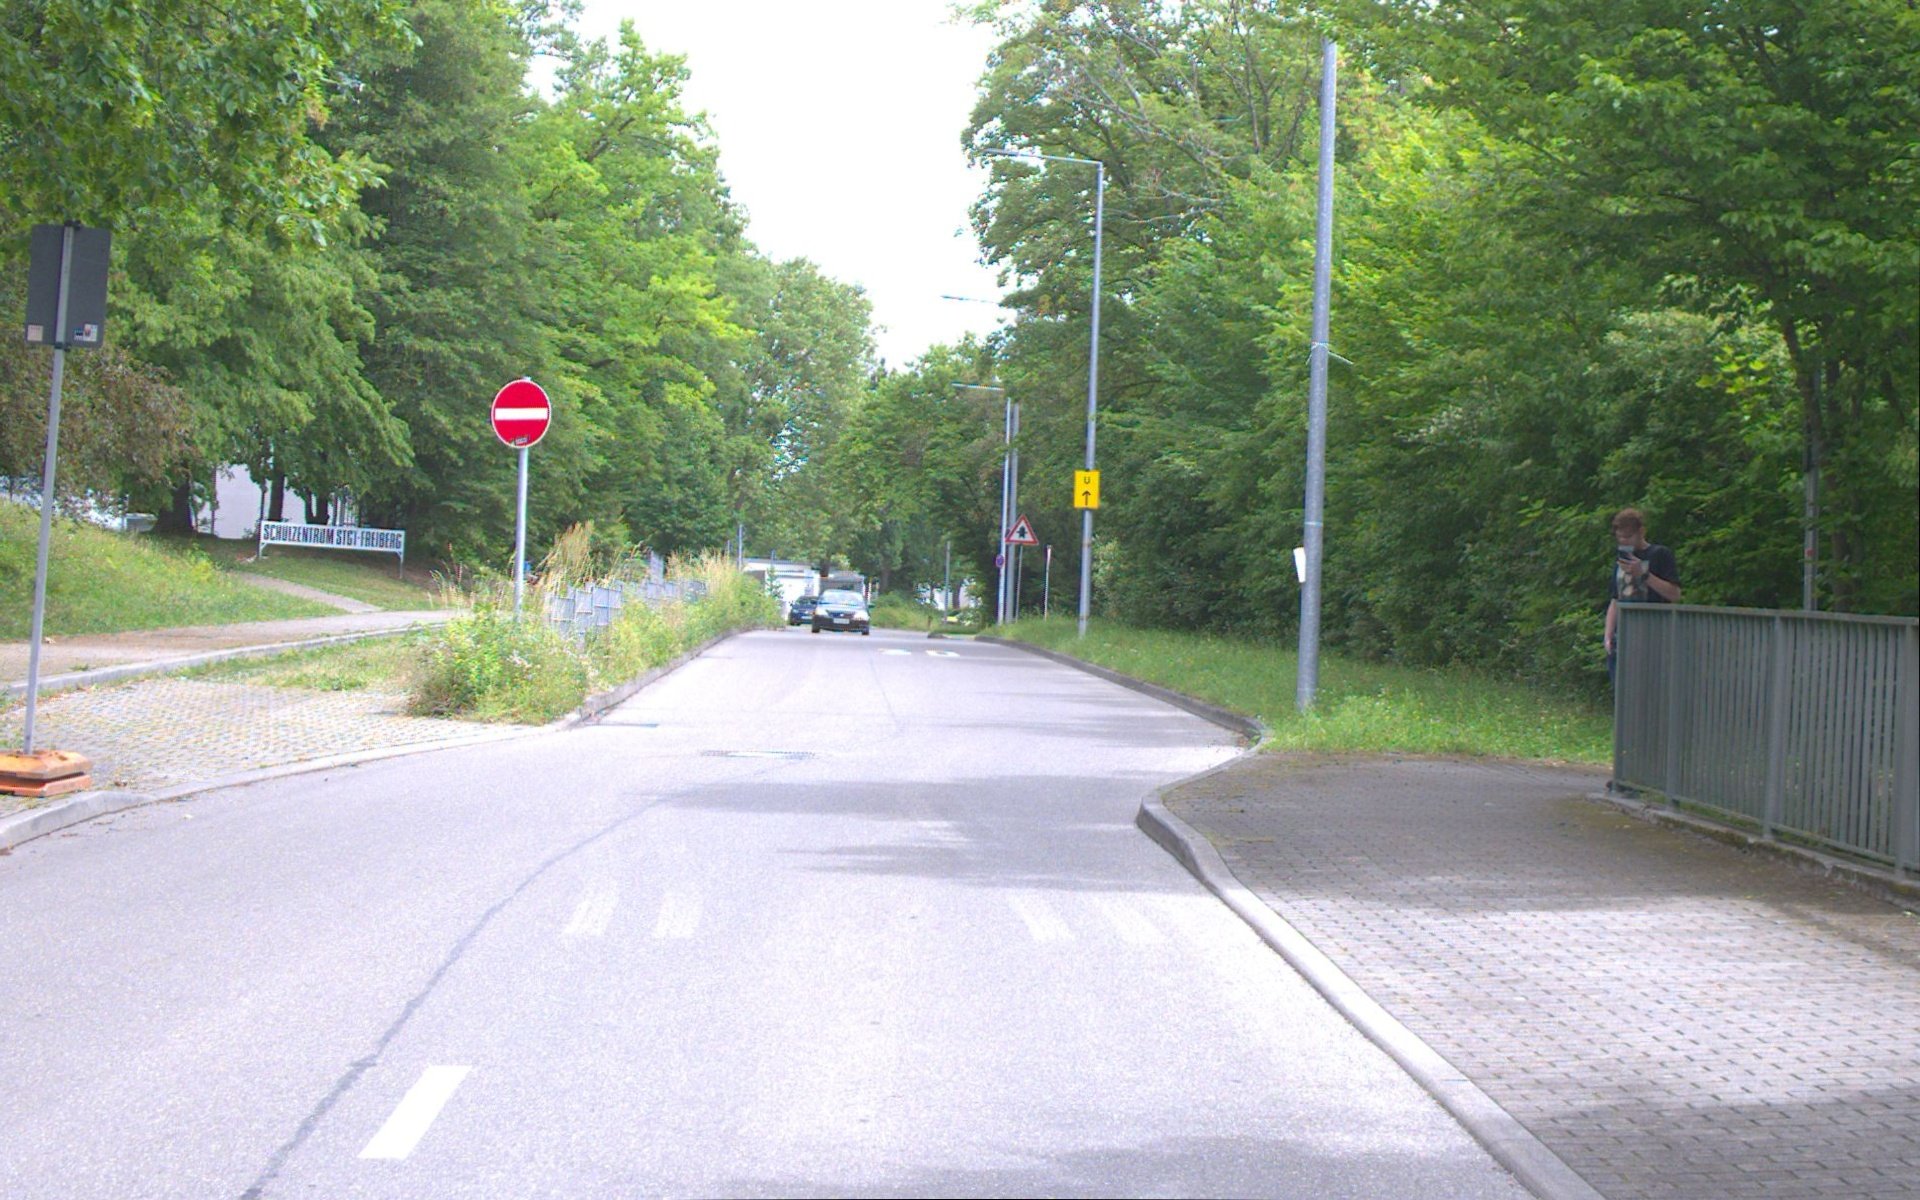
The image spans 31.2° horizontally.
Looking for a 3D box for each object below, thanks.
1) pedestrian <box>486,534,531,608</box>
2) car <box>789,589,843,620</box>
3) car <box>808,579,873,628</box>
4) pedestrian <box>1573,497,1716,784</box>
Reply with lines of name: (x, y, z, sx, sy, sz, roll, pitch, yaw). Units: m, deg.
pedestrian: (-12.655, -0.799, 96.398, 0.877, 2.007, 0.865, -2, -4, 44)
car: (-7.010, 0.226, 167.649, 1.979, 1.379, 3.999, 3, 0, 6)
car: (-3.550, 0.090, 102.454, 1.693, 1.344, 4.094, 2, 1, 1)
pedestrian: (4.317, 0.251, 21.712, 0.680, 1.777, 0.589, 1, 0, -9)
